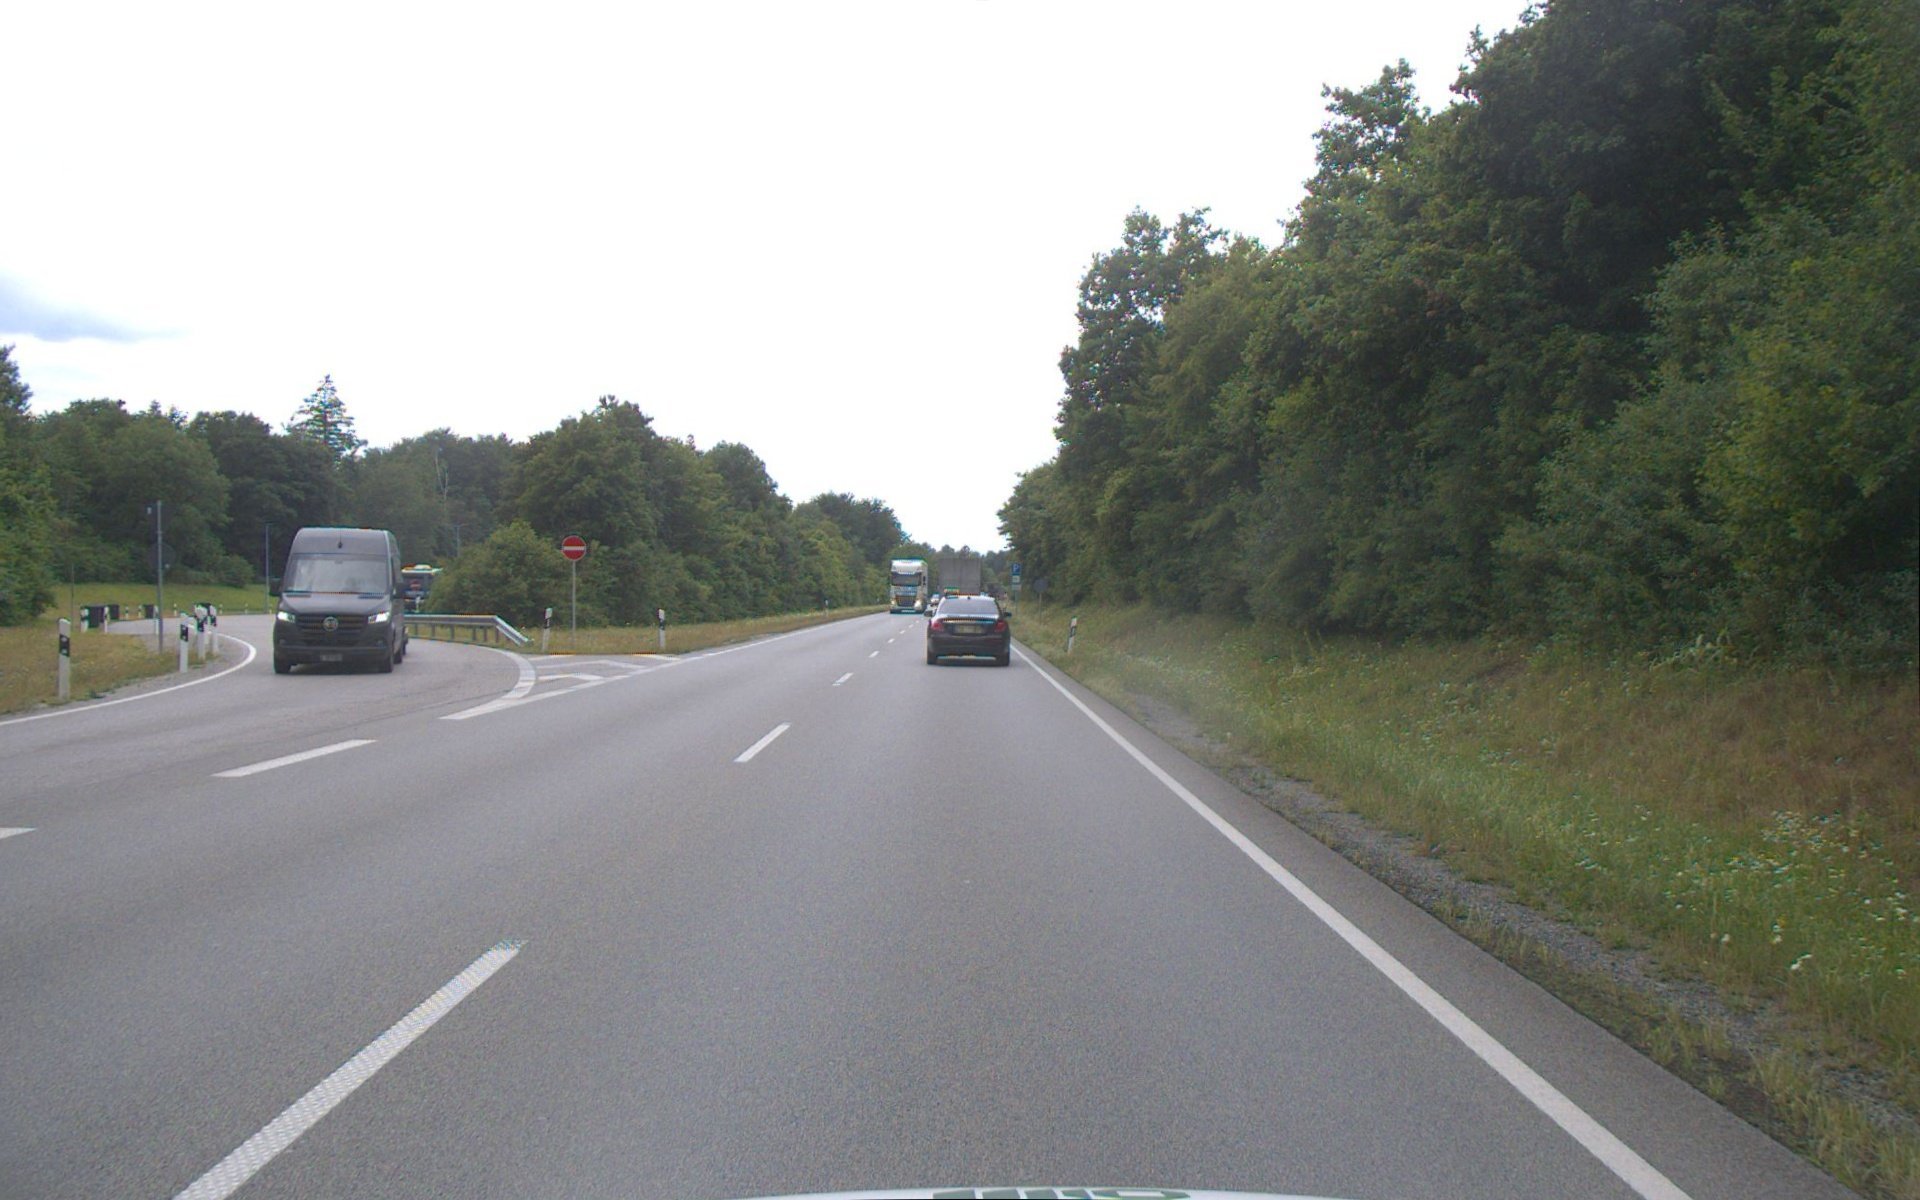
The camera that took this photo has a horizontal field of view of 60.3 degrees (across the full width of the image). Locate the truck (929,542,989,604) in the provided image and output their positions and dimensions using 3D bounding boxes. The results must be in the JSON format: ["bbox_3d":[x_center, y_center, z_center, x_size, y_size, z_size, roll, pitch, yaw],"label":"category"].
[{"bbox_3d":[0.048,-1.638,104.918,3.212,3.675,11.403,1,0,3],"label":"truck"}]

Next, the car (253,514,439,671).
[{"bbox_3d":[-11.484,-0.149,31.510,2.217,2.574,7.142,-2,1,-12],"label":"car"}]

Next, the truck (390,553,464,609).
[{"bbox_3d":[-30.668,-1.086,95.386,1.953,3.065,7.226,1,0,-1],"label":"truck"}]

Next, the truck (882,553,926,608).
[{"bbox_3d":[-4.407,-1.478,131.182,3.124,4.133,9.575,1,0,0],"label":"truck"}]

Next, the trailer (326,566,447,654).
[{"bbox_3d":[-12.989,0.206,37.788,2.019,1.823,5.670,1,0,-13],"label":"trailer"}]

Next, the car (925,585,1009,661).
[{"bbox_3d":[0.102,0.483,36.835,1.755,1.579,3.999,1,0,-1],"label":"car"}]
